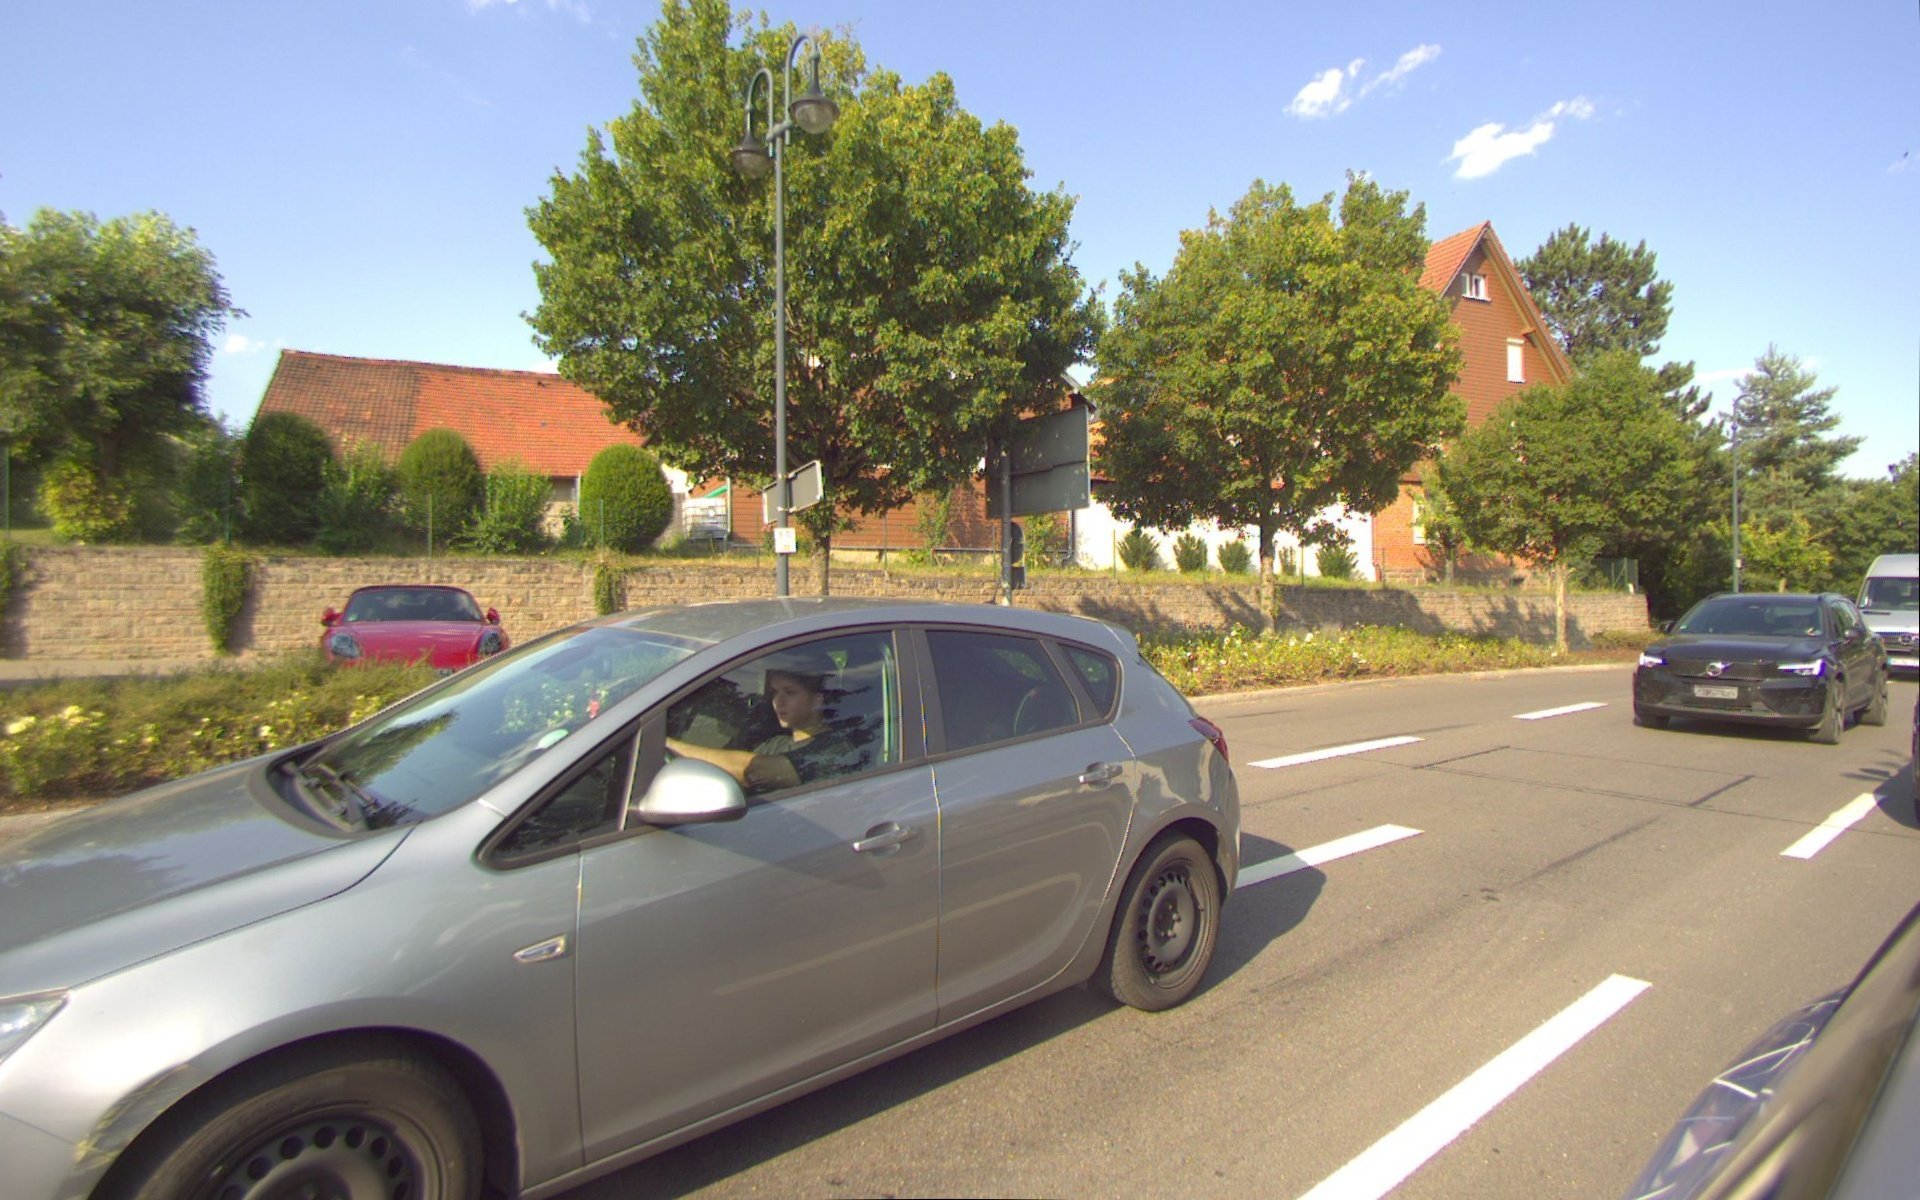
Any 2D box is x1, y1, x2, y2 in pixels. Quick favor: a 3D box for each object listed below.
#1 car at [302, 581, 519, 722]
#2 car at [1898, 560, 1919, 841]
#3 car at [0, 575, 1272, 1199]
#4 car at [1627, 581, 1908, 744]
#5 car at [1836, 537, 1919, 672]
[{"bbox_3d":[-6.129,0.458,11.448,1.816,1.288,4.005,0,0,-28],"label":"car"},{"bbox_3d":[8.033,0.599,6.883,4.646,1.677,1.893,0,0,-40],"label":"car"},{"bbox_3d":[-0.886,0.682,3.236,4.095,1.460,1.746,0,0,-42],"label":"car"},{"bbox_3d":[9.756,0.610,12.120,4.054,1.629,1.885,0,0,-40],"label":"car"},{"bbox_3d":[20.616,0.081,21.321,6.082,2.579,2.369,0,0,-40],"label":"car"}]
